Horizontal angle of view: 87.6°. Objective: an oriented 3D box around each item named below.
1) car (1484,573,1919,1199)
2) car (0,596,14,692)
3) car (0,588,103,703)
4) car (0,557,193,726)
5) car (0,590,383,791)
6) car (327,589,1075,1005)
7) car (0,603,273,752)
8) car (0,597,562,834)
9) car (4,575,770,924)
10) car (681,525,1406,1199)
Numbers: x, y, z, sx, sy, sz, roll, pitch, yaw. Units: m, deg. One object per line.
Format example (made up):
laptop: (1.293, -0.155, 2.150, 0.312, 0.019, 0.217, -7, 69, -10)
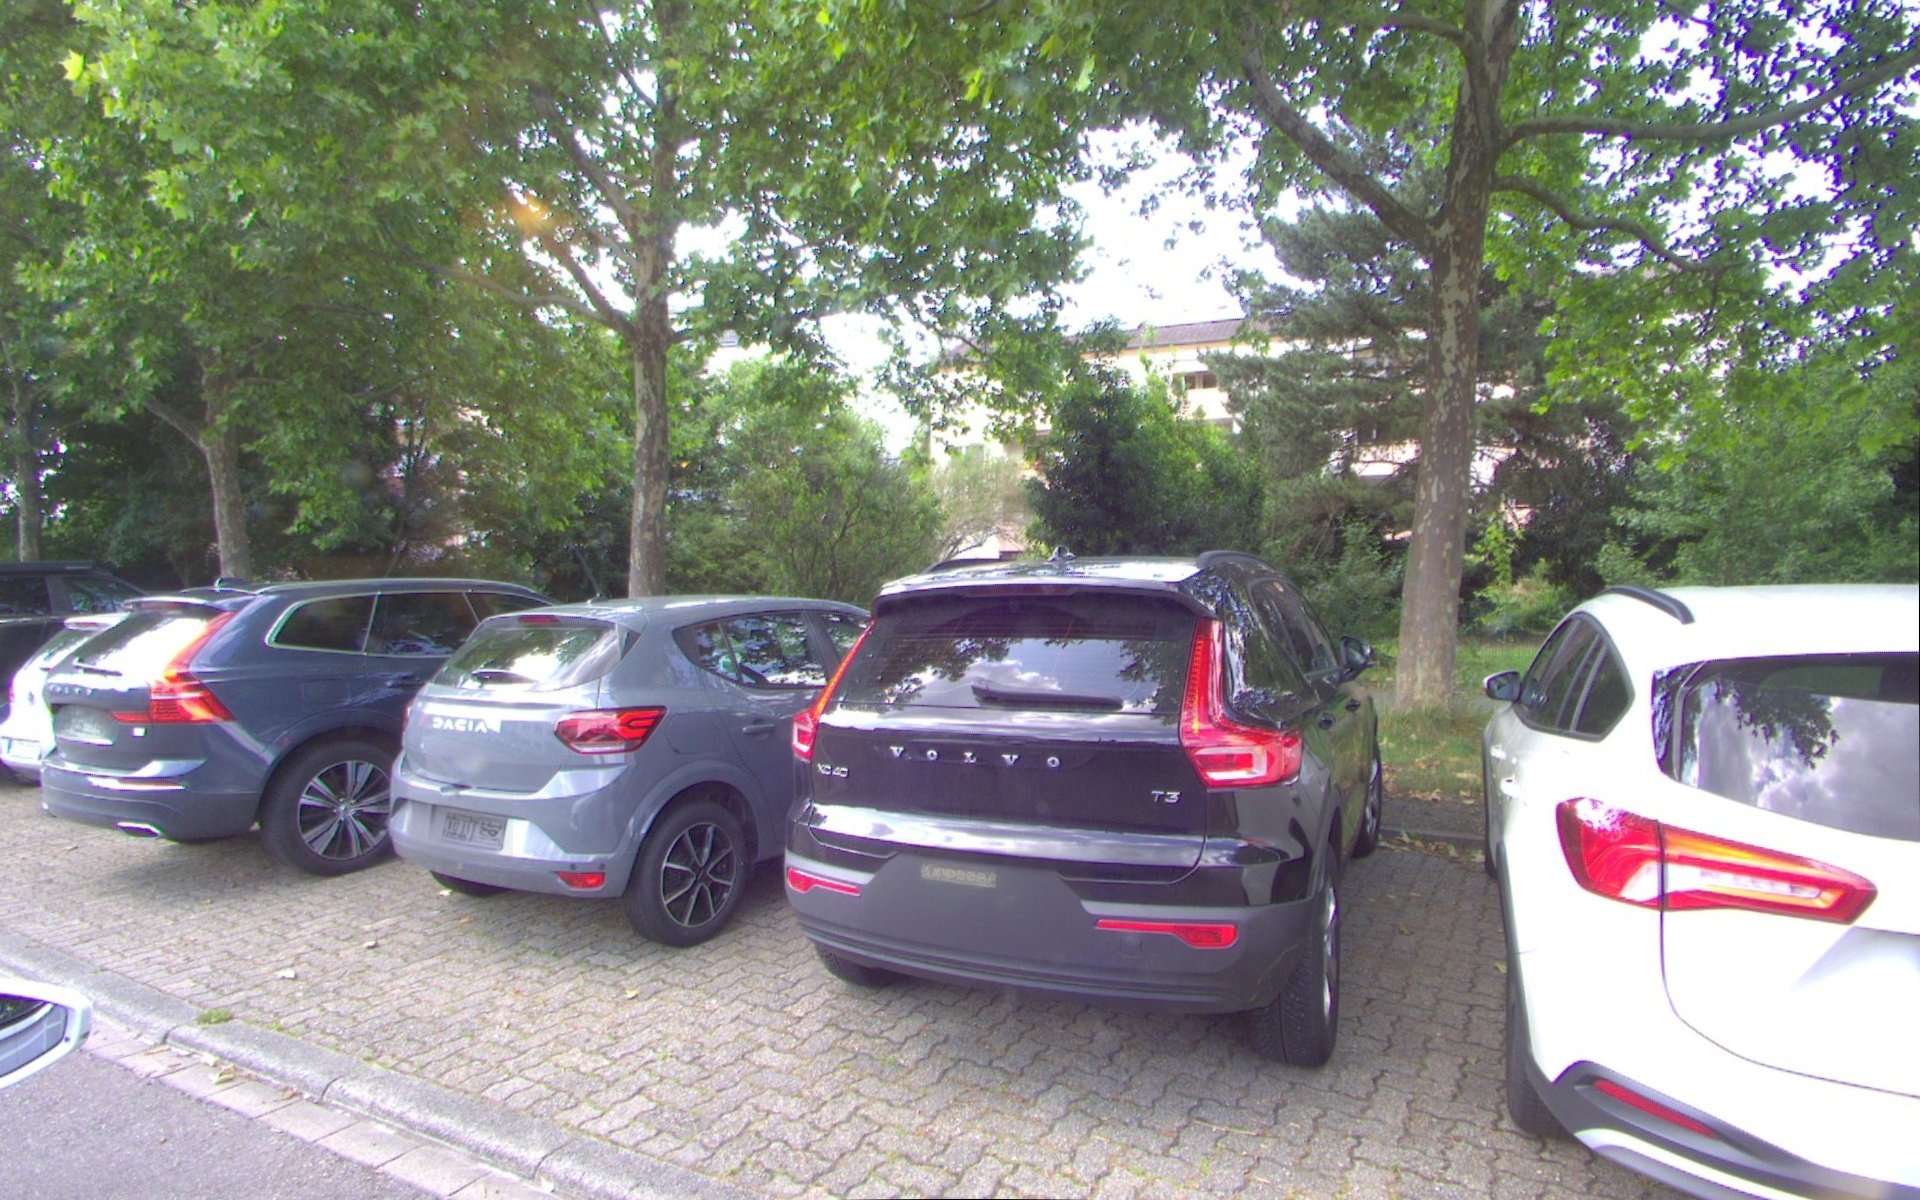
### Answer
car: (2.923, 0.664, 3.534, 1.818, 1.493, 4.654, 0, 1, 27)
car: (-18.680, 0.820, 16.192, 1.826, 1.683, 4.543, 0, 1, 26)
car: (-16.315, 0.733, 15.289, 1.828, 1.790, 4.538, 0, 1, 30)
car: (-13.121, 0.541, 13.075, 1.828, 2.152, 4.538, 0, 1, 30)
car: (-8.146, 0.734, 9.962, 1.725, 1.627, 3.969, 0, 1, 20)
car: (-1.040, 0.717, 6.042, 1.731, 1.521, 4.370, 0, 1, 32)
car: (-10.485, 0.838, 11.458, 1.730, 1.514, 3.959, -1, 1, 30)
car: (-5.738, 0.762, 8.770, 1.730, 1.514, 3.959, 0, 1, 30)
car: (-3.504, 0.678, 7.060, 1.731, 1.661, 4.370, 0, 1, 32)
car: (1.001, 0.617, 4.755, 1.818, 1.648, 4.654, 0, 1, 27)
